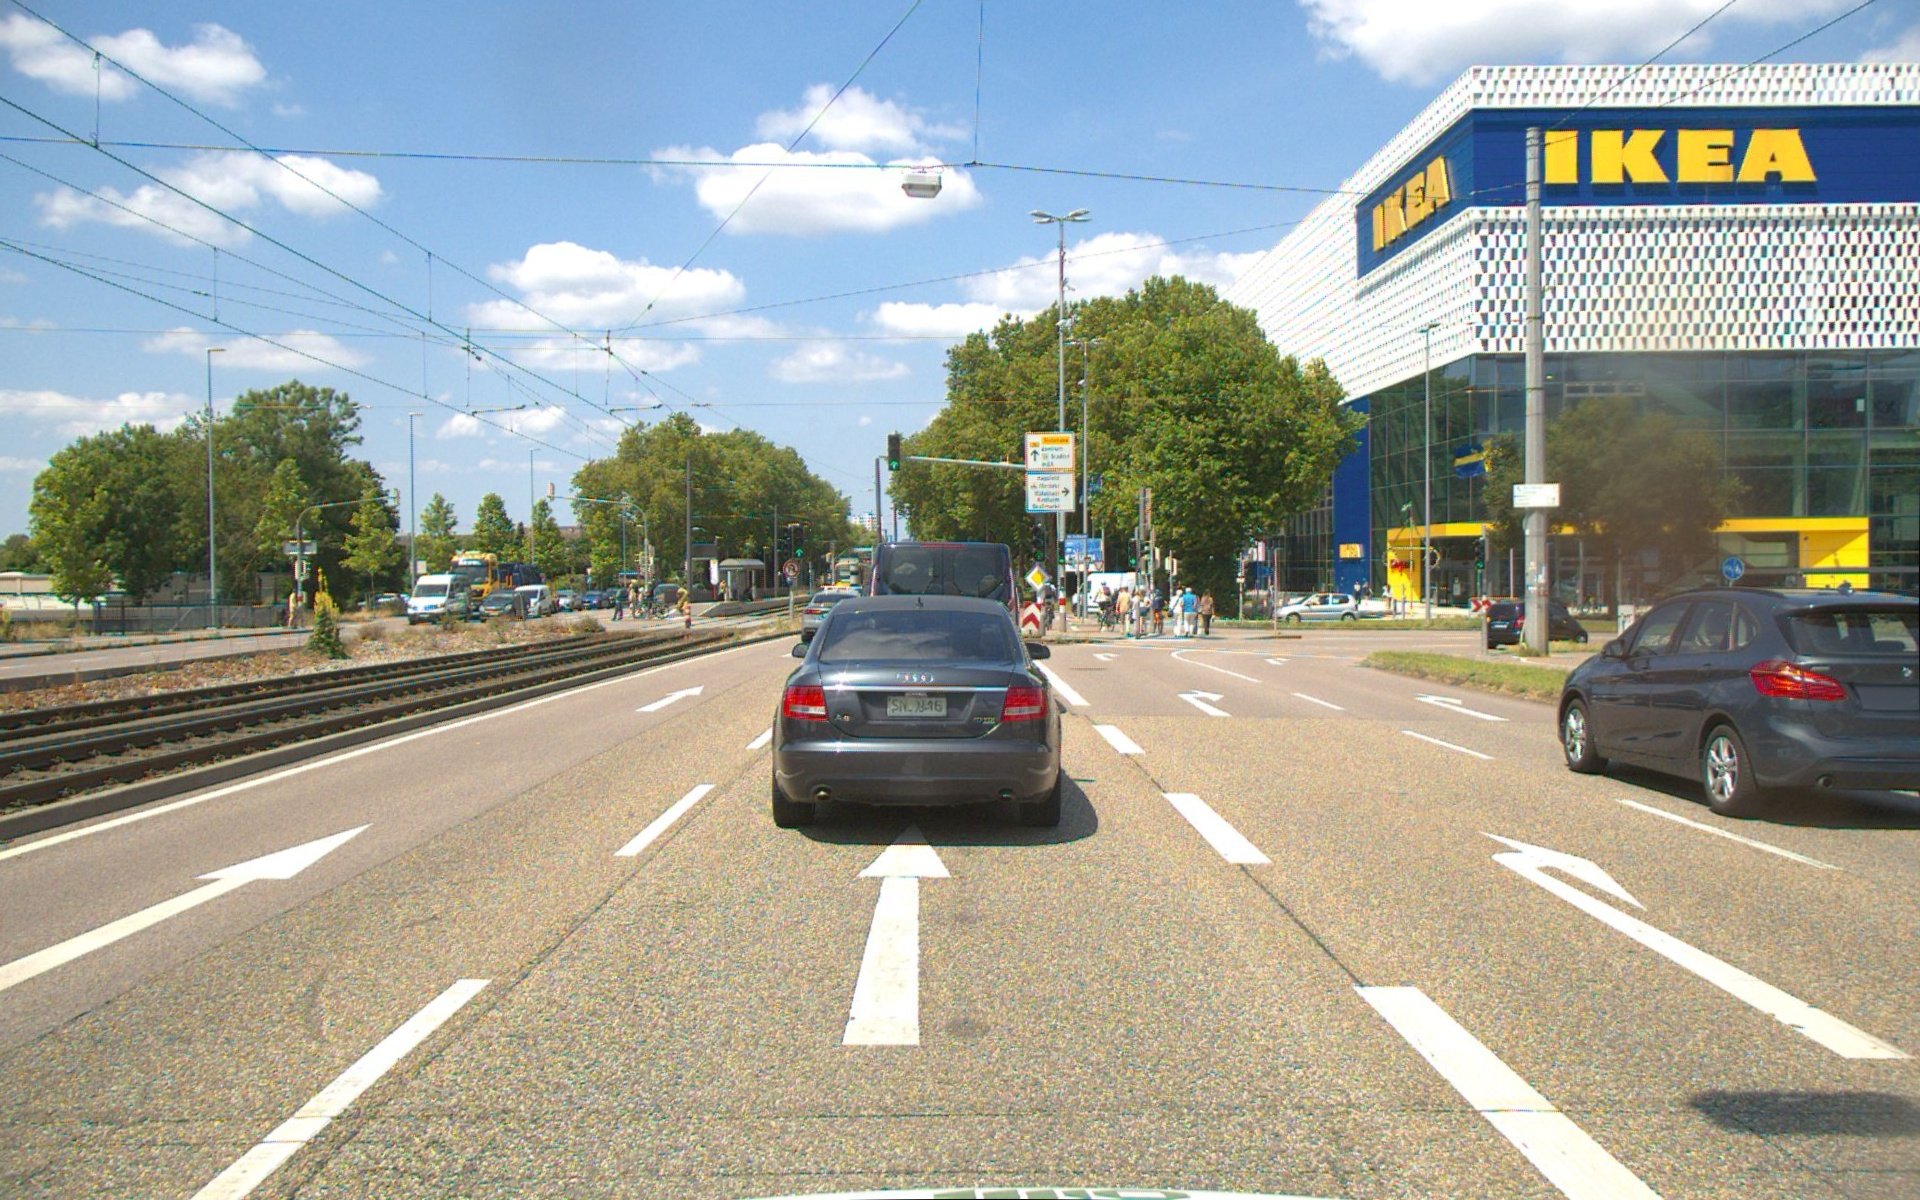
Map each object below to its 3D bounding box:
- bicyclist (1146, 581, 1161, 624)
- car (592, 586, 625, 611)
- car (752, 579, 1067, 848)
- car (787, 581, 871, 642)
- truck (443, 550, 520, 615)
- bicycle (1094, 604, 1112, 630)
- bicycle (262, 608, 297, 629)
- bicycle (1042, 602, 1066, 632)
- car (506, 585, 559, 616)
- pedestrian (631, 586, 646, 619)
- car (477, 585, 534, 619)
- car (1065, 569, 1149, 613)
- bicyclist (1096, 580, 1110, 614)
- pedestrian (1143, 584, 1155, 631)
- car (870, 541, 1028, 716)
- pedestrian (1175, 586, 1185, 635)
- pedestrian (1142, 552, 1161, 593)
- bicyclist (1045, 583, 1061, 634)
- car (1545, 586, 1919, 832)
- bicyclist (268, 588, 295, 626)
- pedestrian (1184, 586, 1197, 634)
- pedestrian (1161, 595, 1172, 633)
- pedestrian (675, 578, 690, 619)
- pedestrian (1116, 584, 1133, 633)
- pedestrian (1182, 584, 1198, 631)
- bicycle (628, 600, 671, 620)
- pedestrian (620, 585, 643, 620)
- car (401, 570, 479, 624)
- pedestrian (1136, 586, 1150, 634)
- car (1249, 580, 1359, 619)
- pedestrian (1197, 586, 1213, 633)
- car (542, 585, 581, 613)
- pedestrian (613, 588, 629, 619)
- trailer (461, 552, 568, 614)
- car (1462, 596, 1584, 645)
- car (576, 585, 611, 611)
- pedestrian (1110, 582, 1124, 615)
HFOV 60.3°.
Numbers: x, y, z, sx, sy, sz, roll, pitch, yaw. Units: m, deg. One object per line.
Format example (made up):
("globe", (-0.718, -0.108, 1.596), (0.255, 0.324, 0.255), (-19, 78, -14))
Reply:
("bicyclist", (8.053, 0.094, 68.796), (0.517, 1.795, 0.828), (0, 0, 13))
("car", (-27.827, -0.152, 131.123), (1.781, 1.916, 3.999), (0, 0, -1))
("car", (-0.303, 0.615, 11.341), (1.756, 1.480, 4.000), (-1, 1, -1))
("car", (-3.479, 0.280, 44.583), (1.953, 1.512, 4.000), (2, 1, -1))
("truck", (-27.858, -1.003, 96.590), (2.711, 3.631, 6.438), (0, 0, -1))
("bicycle", (5.202, 0.619, 60.146), (0.538, 0.892, 1.698), (1, 0, 2))
("bicycle", (-32.678, 0.877, 79.459), (1.461, 1.004, 0.485), (1, 0, -5))
("bicycle", (3.405, 0.608, 59.975), (0.673, 1.011, 2.751), (1, 0, 0))
("car", (-24.462, -0.004, 94.776), (1.785, 1.699, 4.462), (1, 1, 1))
("pedestrian", (-15.815, 0.123, 81.394), (0.671, 1.592, 0.572), (0, 0, -4))
("car", (-24.077, 0.100, 87.785), (1.785, 1.699, 4.461), (1, 1, -1))
("car", (8.075, -0.490, 91.131), (1.980, 2.349, 4.710), (0, 0, -38))
("bicyclist", (5.213, -0.119, 60.275), (0.460, 1.214, 0.791), (0, 0, 2))
("pedestrian", (6.708, 0.259, 58.762), (0.373, 1.663, 0.377), (1, 0, 2))
("car", (-0.157, 0.322, 20.811), (1.799, 1.984, 3.999), (0, 0, -1))
("pedestrian", (7.577, 0.359, 57.006), (0.314, 1.663, 0.377), (1, 0, 2))
("pedestrian", (8.953, -1.283, 77.431), (0.671, 1.878, 0.706), (1, 0, 25))
("bicyclist", (3.348, 0.318, 59.748), (0.518, 1.820, 1.088), (0, 0, 0))
("car", (6.028, 0.677, 12.569), (1.725, 1.553, 4.099), (0, 1, 0))
("bicyclist", (-32.595, 0.337, 79.468), (1.097, 1.805, 0.340), (1, 0, -6))
("pedestrian", (7.925, 0.343, 56.958), (0.389, 1.663, 0.371), (1, 0, 2))
("pedestrian", (7.112, 0.478, 56.972), (0.365, 1.326, 0.365), (1, 0, 2))
("pedestrian", (-14.083, -0.084, 83.868), (0.672, 2.049, 0.572), (0, 0, -5))
("pedestrian", (5.690, 0.293, 57.344), (0.542, 1.663, 0.433), (1, 0, 2))
("pedestrian", (8.315, 0.267, 59.814), (0.493, 1.663, 0.449), (1, 0, 2))
("bicycle", (-14.898, 0.488, 79.441), (2.019, 0.941, 0.751), (0, 0, -11))
("pedestrian", (-16.528, 0.118, 83.218), (0.806, 1.750, 0.775), (1, 0, 21))
("car", (-27.535, -0.202, 87.828), (2.198, 2.634, 6.233), (-2, 1, -2))
("pedestrian", (6.312, 0.338, 56.943), (0.435, 1.663, 0.430), (1, 0, 2))
("car", (14.867, -0.027, 71.618), (4.403, 1.512, 2.001), (2, 1, 3))
("pedestrian", (8.860, 0.329, 59.791), (0.510, 1.699, 0.494), (1, 0, 2))
("car", (-27.927, -0.101, 115.986), (1.781, 1.916, 3.999), (0, 0, -1))
("pedestrian", (-16.439, 0.176, 80.273), (0.671, 1.468, 0.572), (0, 0, -4))
("trailer", (-27.991, -1.038, 104.806), (2.711, 3.580, 15.875), (0, 0, -1))
("car", (18.679, 0.689, 54.830), (3.959, 1.512, 1.973), (1, 1, -38))
("car", (-27.832, -0.136, 125.635), (1.781, 1.916, 3.999), (0, 0, -1))
("pedestrian", (7.429, -0.086, 78.311), (0.483, 1.546, 0.707), (1, 0, 17))
